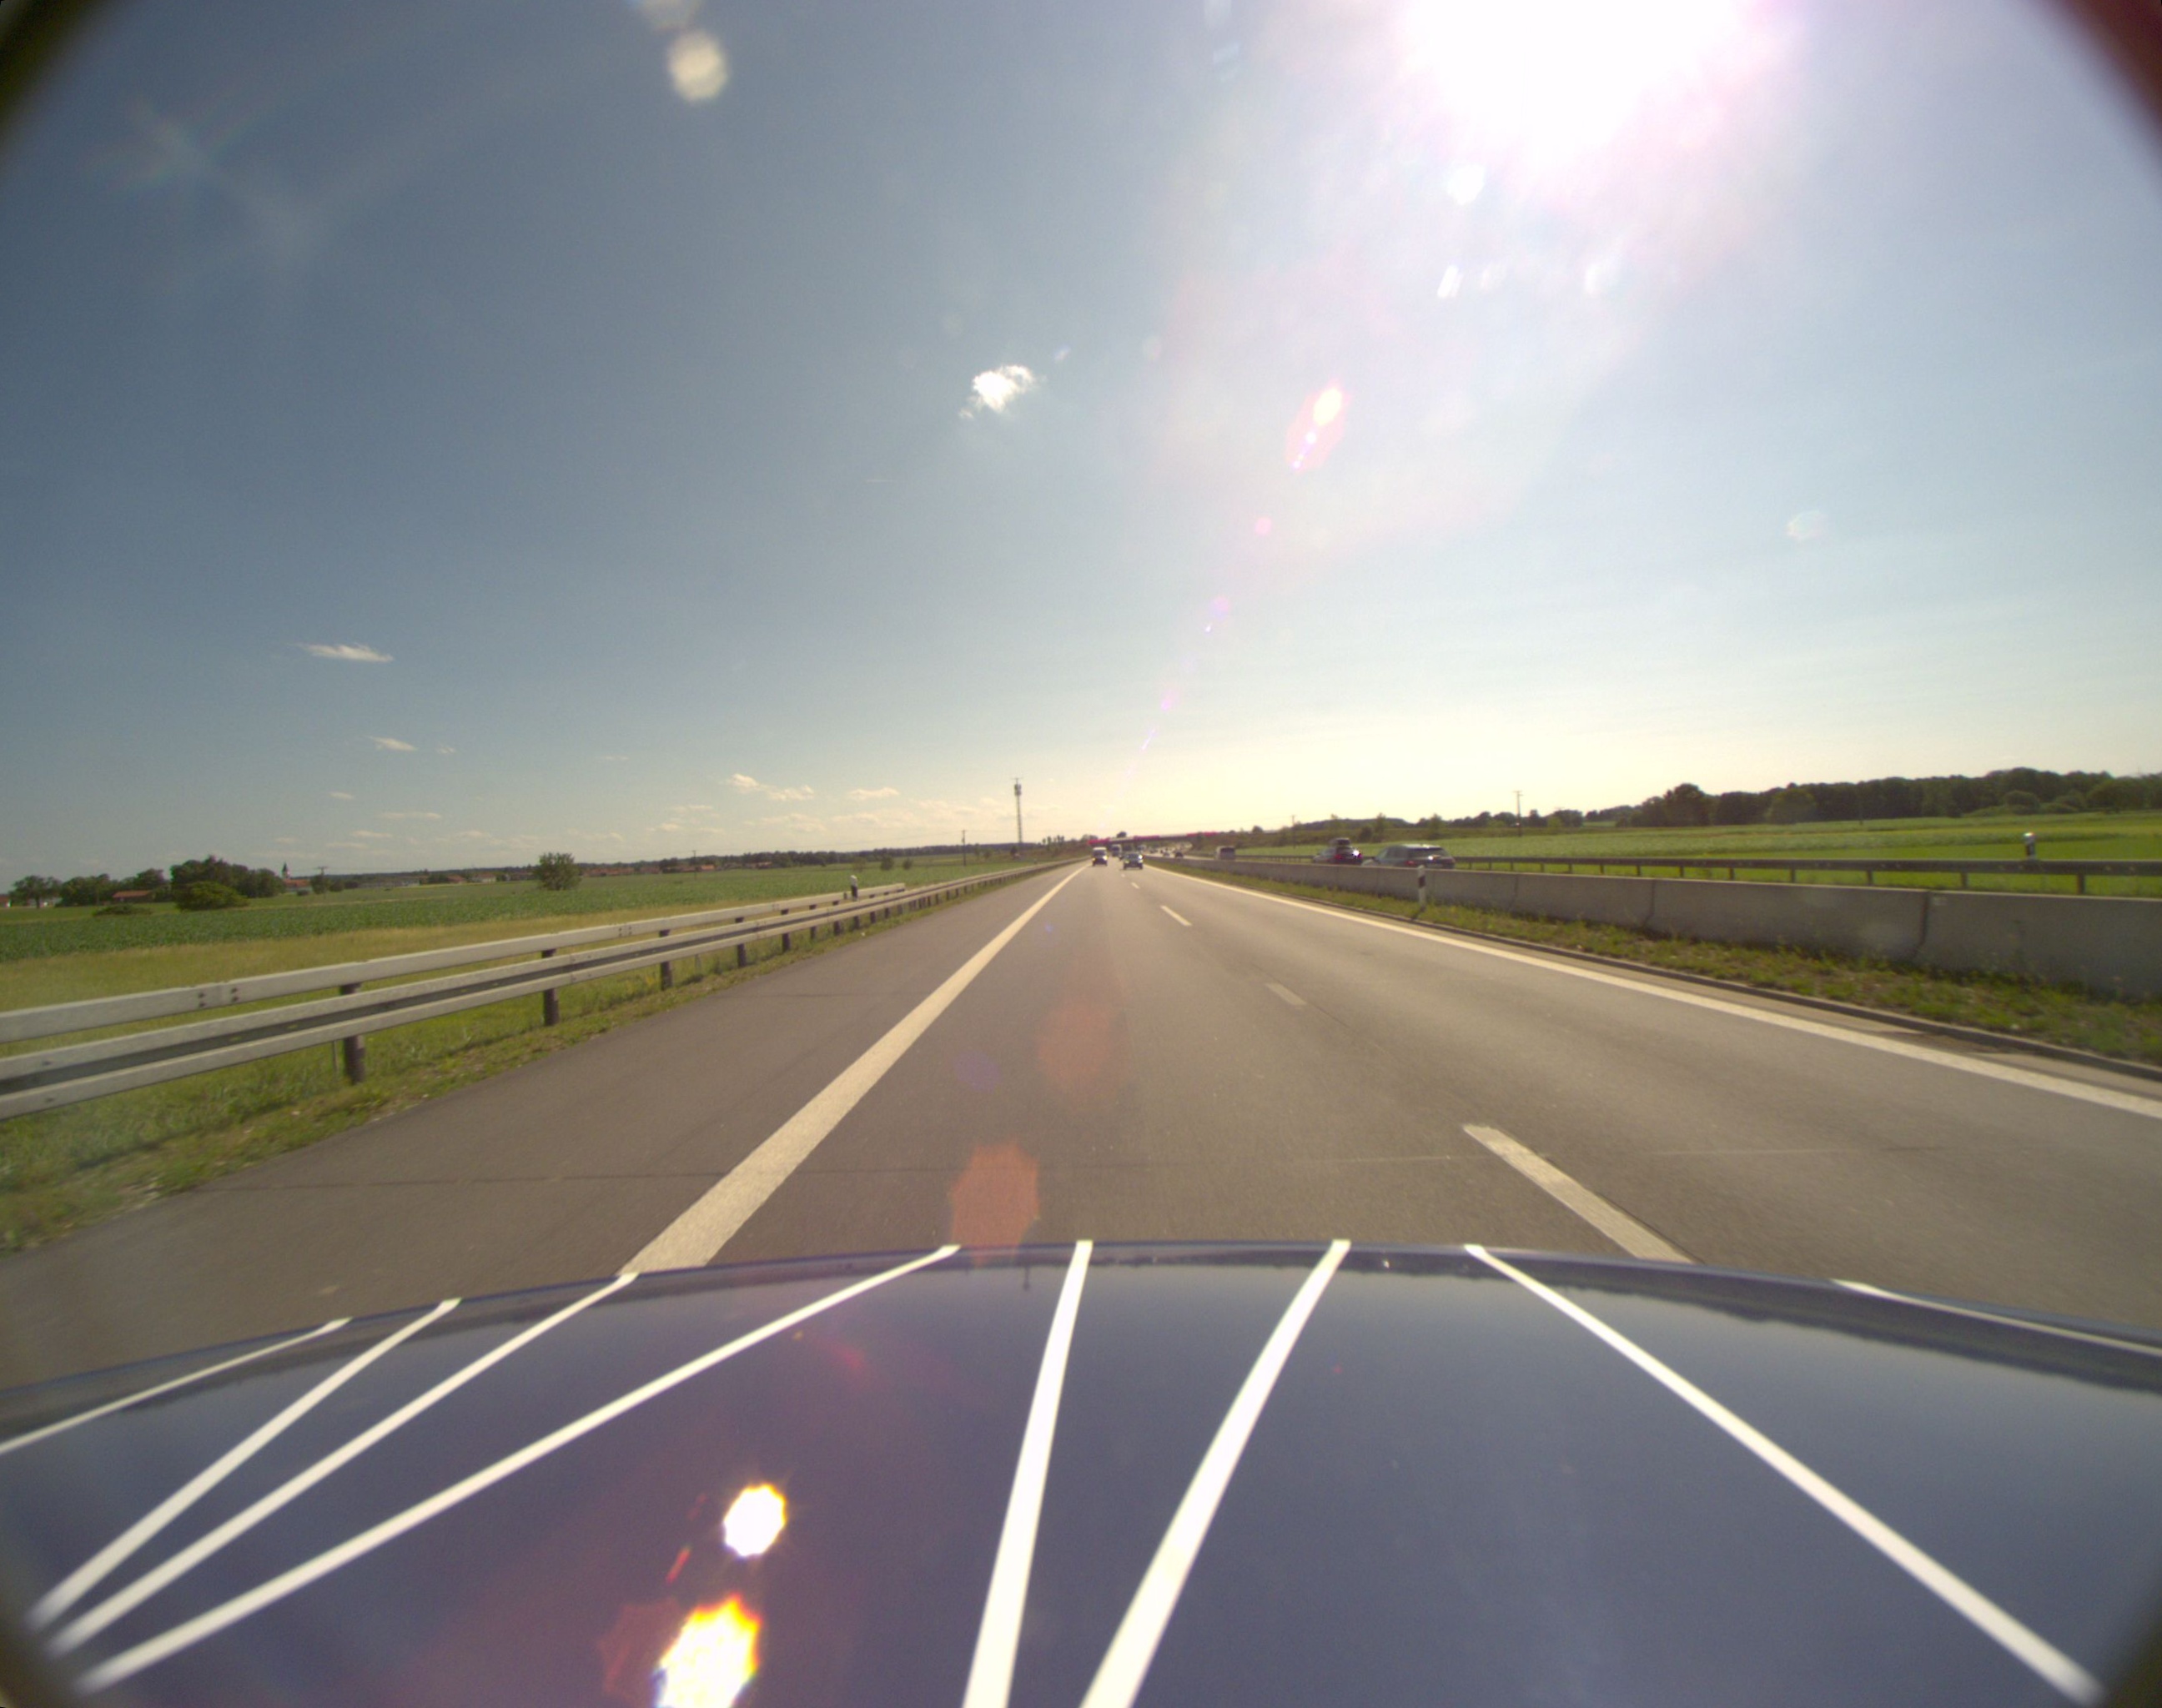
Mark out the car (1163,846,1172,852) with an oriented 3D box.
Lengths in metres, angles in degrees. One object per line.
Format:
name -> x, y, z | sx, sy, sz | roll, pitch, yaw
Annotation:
car -> 23.144, -1.366, 203.995 | 1.827, 1.357, 5.295 | -1, 0, 2

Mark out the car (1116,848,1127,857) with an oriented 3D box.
car -> 8.091, -0.262, 151.233 | 2.030, 1.600, 4.819 | -4, -1, 2

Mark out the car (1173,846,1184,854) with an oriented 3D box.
car -> 20.690, -0.876, 161.751 | 1.863, 1.575, 4.914 | -1, 0, 1

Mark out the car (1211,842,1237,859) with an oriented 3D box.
car -> 16.760, -0.418, 89.265 | 1.959, 1.831, 5.449 | -1, 0, 1

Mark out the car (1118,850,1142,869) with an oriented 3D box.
car -> 4.748, 0.521, 74.081 | 2.030, 1.600, 4.818 | -3, 1, 1

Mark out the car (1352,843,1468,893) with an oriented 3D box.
car -> 11.052, 0.420, 25.936 | 1.902, 1.514, 4.805 | -1, 0, 1

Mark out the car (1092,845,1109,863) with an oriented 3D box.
car -> 2.548, -0.037, 98.519 | 2.030, 2.225, 4.818 | -2, 1, 2

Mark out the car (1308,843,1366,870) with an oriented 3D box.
car -> 15.444, 0.126, 46.099 | 1.902, 1.514, 4.805 | -1, 0, 1
